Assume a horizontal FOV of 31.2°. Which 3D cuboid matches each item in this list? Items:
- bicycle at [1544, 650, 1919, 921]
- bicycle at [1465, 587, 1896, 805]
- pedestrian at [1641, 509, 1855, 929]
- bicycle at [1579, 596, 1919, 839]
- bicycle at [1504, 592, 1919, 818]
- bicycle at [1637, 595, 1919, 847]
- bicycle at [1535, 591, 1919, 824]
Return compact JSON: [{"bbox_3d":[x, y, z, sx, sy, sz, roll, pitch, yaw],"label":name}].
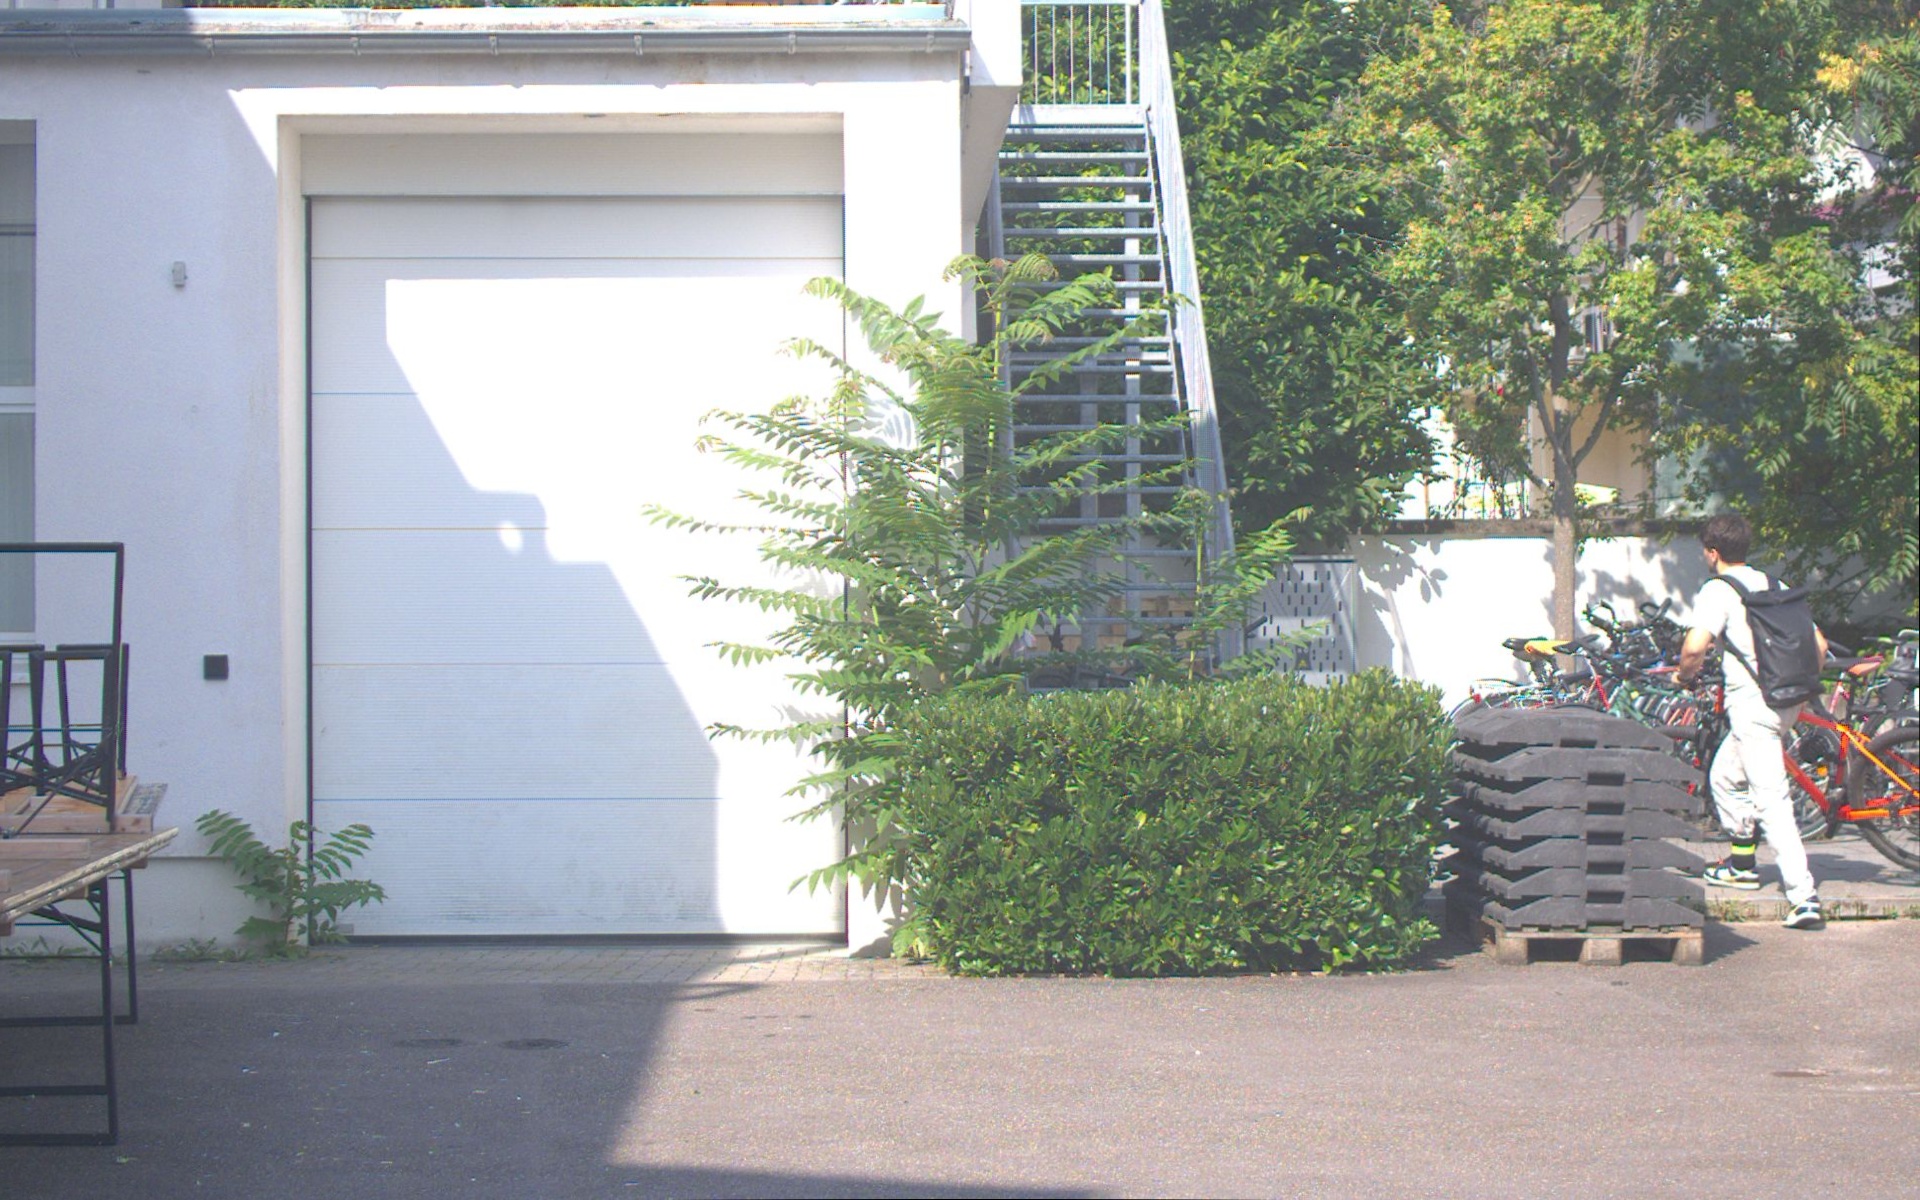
[{"bbox_3d":[3.647,0.809,15.383,1.991,1.140,0.489,0,1,32],"label":"bicycle"},{"bbox_3d":[4.223,0.557,20.227,2.411,1.242,0.526,1,0,-1],"label":"bicycle"},{"bbox_3d":[3.435,0.493,14.966,0.610,1.765,0.859,1,1,35],"label":"pedestrian"},{"bbox_3d":[4.522,0.614,18.105,2.411,1.242,0.526,1,0,-1],"label":"bicycle"},{"bbox_3d":[4.342,0.590,19.514,2.411,1.242,0.526,1,0,-1],"label":"bicycle"},{"bbox_3d":[4.699,0.612,17.445,2.411,1.242,0.526,1,0,-1],"label":"bicycle"},{"bbox_3d":[4.418,0.584,18.899,2.411,1.242,0.526,1,0,-1],"label":"bicycle"}]
